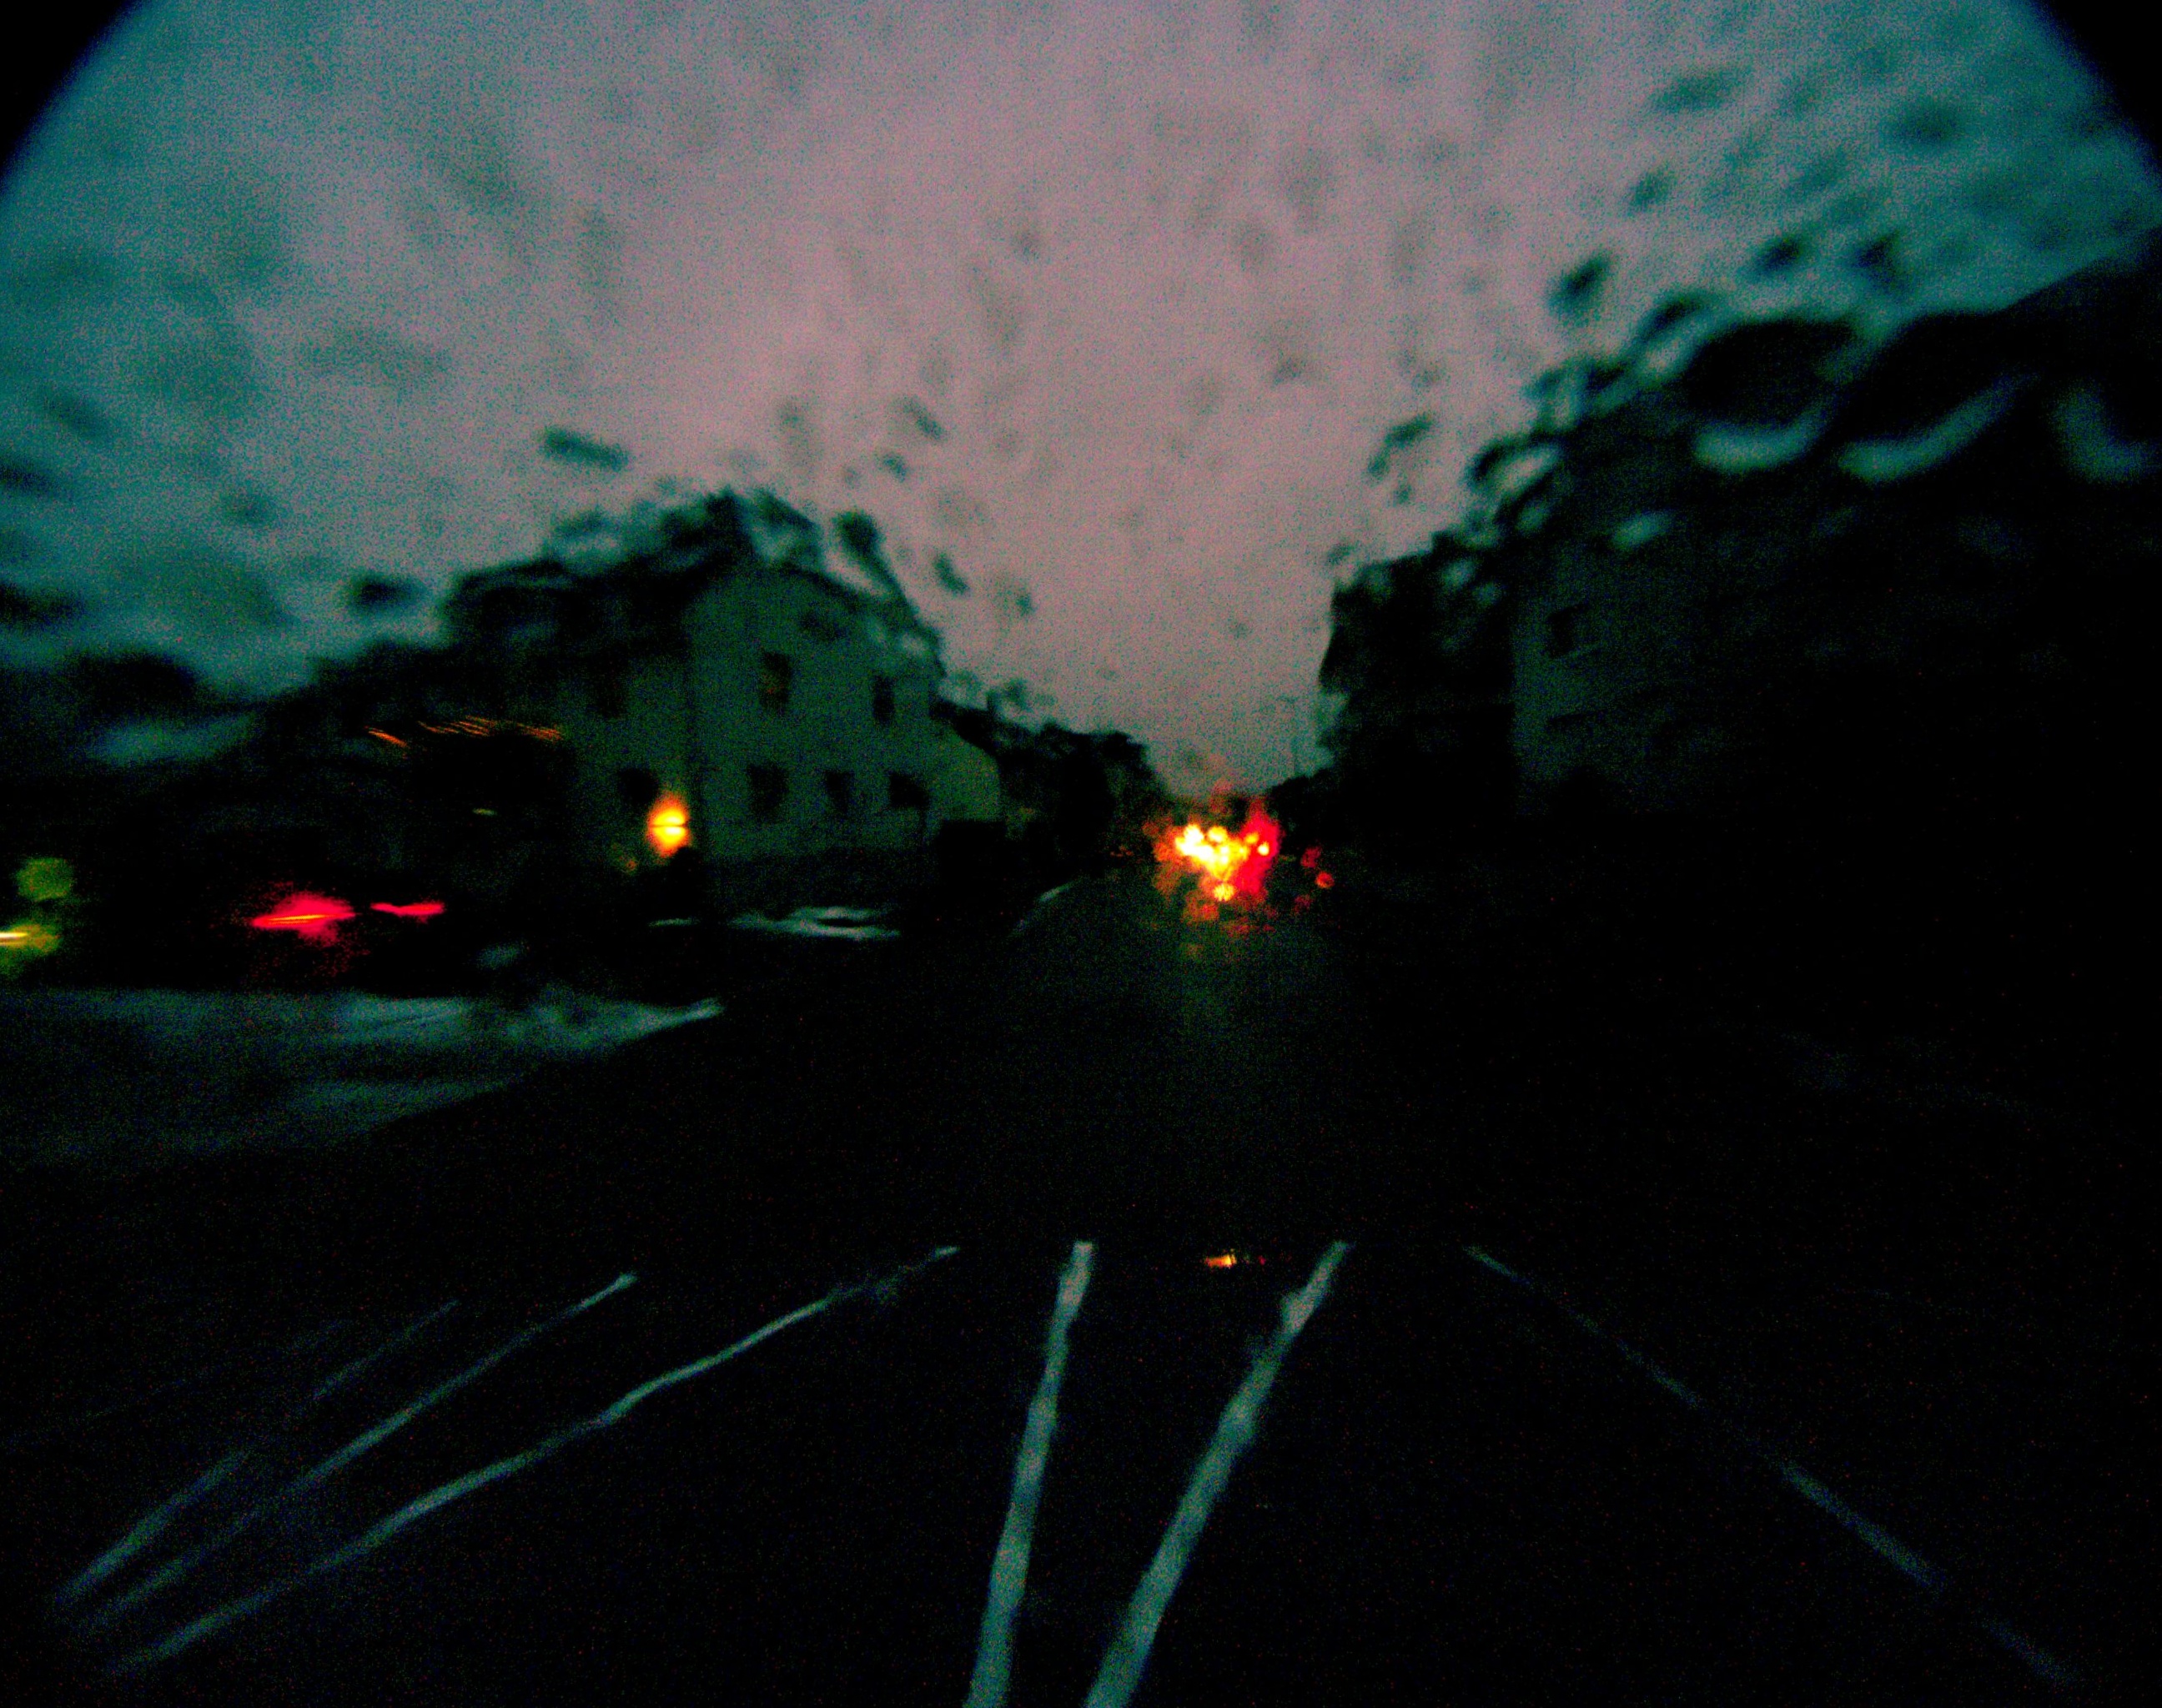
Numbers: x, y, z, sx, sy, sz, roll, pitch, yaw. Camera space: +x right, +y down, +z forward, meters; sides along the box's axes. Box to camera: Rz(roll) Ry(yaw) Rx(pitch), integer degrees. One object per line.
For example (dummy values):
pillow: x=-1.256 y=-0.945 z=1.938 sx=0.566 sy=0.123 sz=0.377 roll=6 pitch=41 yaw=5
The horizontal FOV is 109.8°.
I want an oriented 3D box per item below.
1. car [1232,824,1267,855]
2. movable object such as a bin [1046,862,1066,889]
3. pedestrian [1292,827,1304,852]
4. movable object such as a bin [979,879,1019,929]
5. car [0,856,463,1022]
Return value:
car: x=11.708 y=-1.028 z=52.662 sx=2.113 sy=2.015 sz=4.986 roll=-1 pitch=2 yaw=15
movable object such as a bin: x=-0.911 y=0.789 z=27.650 sx=0.538 sy=0.933 sz=0.690 roll=-2 pitch=2 yaw=12
pedestrian: x=15.399 y=-1.049 z=53.916 sx=0.598 sy=1.723 sz=0.813 roll=-3 pitch=3 yaw=22
movable object such as a bin: x=-1.631 y=0.981 z=15.186 sx=0.638 sy=0.912 sz=0.686 roll=-3 pitch=2 yaw=6
car: x=-10.336 y=0.969 z=9.278 sx=3.995 sy=1.608 sz=2.001 roll=-4 pitch=-1 yaw=6
